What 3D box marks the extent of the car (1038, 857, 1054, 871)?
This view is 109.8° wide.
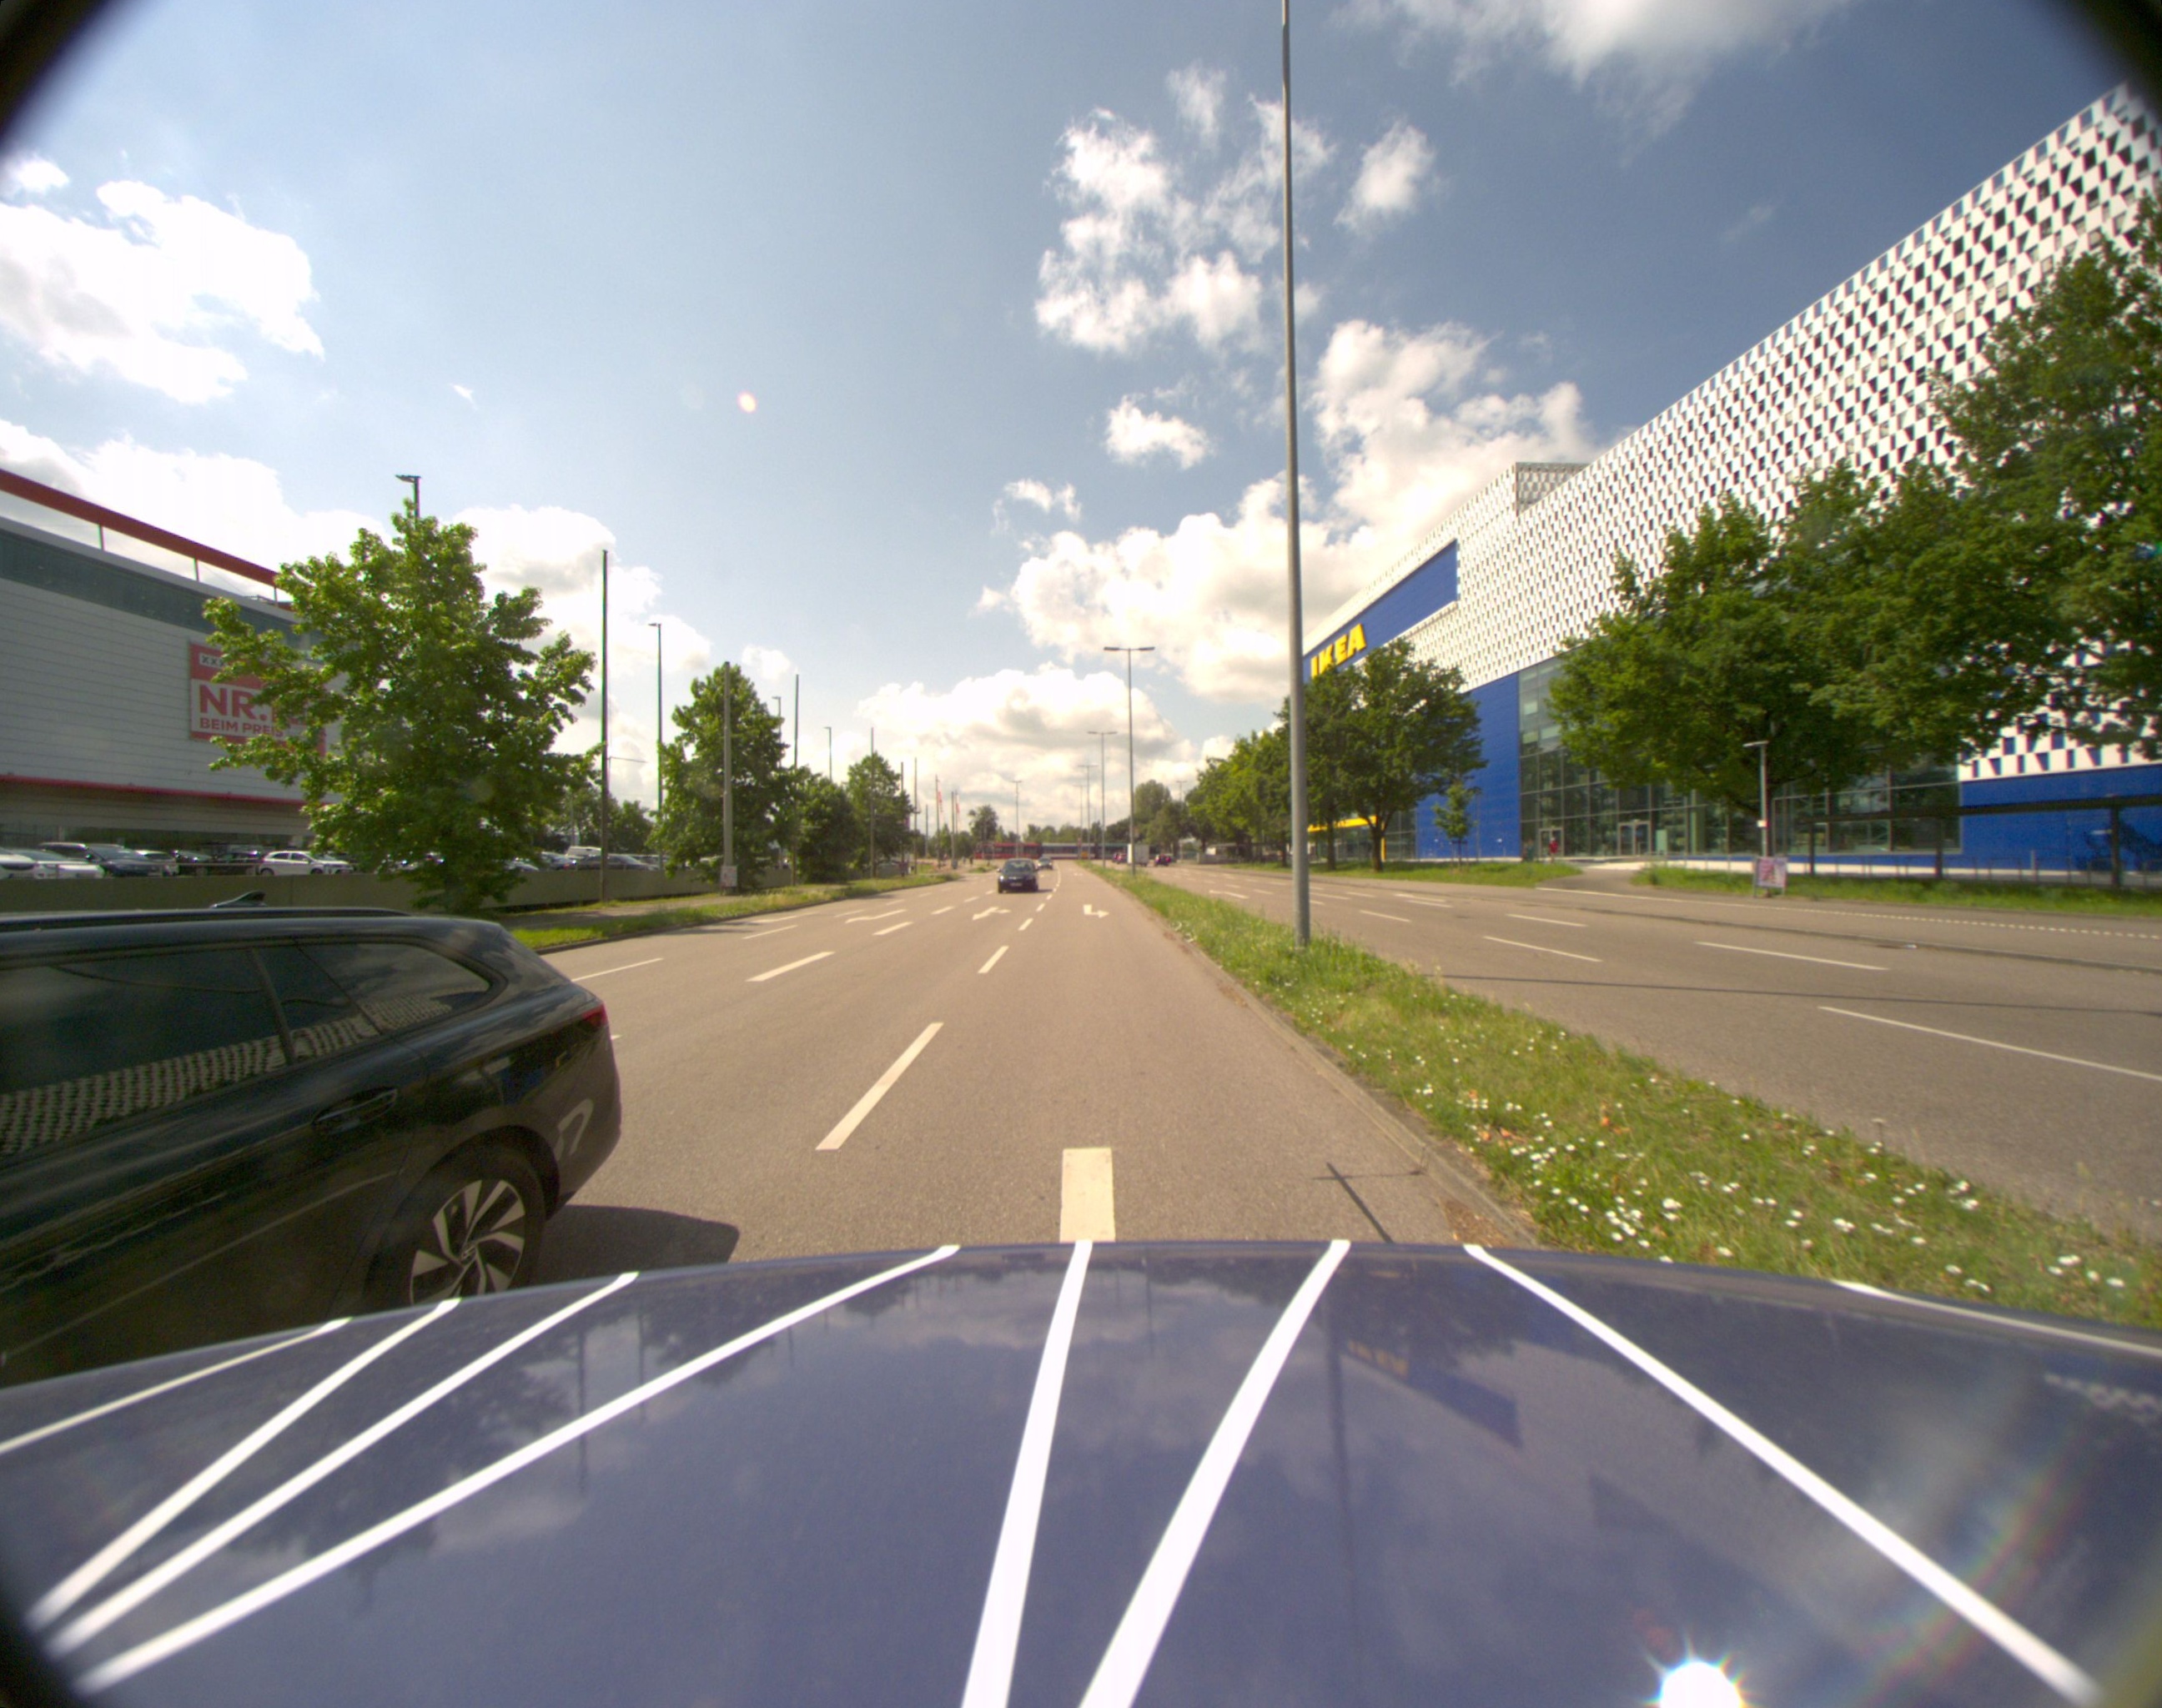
[{"bbox_3d":[-3.902,1.126,85.346,1.606,1.521,4.269,-1,0,0],"label":"car"}]

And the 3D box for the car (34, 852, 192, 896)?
[{"bbox_3d":[-39.237,0.795,30.856,4.417,1.596,1.956,-2,1,8],"label":"car"}]

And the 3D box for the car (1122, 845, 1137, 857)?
[{"bbox_3d":[7.176,-0.420,112.663,1.941,1.674,3.999,-2,1,1],"label":"car"}]

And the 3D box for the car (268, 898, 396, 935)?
[{"bbox_3d":[-36.994,3.075,37.607,4.419,1.596,1.955,-2,1,3],"label":"car"}]

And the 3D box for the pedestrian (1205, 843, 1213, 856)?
[{"bbox_3d":[22.539,-0.787,133.783,0.817,2.082,1.041,-1,2,42],"label":"pedestrian"}]

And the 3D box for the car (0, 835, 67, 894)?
[{"bbox_3d":[-34.484,0.374,23.445,3.997,1.783,1.749,-2,1,1],"label":"car"}]

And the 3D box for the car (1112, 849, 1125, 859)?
[{"bbox_3d":[6.222,-0.016,125.443,1.941,1.674,3.999,-2,1,1],"label":"car"}]

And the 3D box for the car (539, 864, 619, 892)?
[{"bbox_3d":[-33.011,1.553,50.018,3.996,1.595,1.778,-2,1,2],"label":"car"}]

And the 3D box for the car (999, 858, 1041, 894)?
[{"bbox_3d":[-2.759,0.956,35.077,1.606,1.521,4.269,-1,0,0],"label":"car"}]

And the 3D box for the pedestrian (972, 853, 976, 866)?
[{"bbox_3d":[-15.074,0.772,107.230,0.527,1.803,0.677,-2,1,-9],"label":"pedestrian"}]

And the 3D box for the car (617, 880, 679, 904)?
[{"bbox_3d":[-37.916,3.321,66.542,4.421,1.754,1.559,-2,1,-3],"label":"car"}]

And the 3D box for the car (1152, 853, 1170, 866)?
[{"bbox_3d":[10.533,0.705,100.328,1.941,1.674,3.999,-2,1,1],"label":"car"}]

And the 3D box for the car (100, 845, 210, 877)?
[{"bbox_3d":[-49.090,0.368,40.322,4.415,1.596,1.957,-2,1,14],"label":"car"}]

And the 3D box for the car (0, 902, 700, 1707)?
[{"bbox_3d":[-2.811,1.005,1.129,1.813,1.469,5.203,-2,0,0],"label":"car"}]

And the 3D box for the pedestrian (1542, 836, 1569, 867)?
[{"bbox_3d":[27.561,-0.140,44.166,0.854,1.718,1.165,-2,1,3],"label":"pedestrian"}]

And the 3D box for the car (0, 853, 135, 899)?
[{"bbox_3d":[-38.565,0.824,28.404,4.417,1.596,1.956,-2,1,8],"label":"car"}]

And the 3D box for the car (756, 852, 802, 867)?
[{"bbox_3d":[-34.445,0.596,86.675,4.420,1.596,1.954,-2,1,-1],"label":"car"}]

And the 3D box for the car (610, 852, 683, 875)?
[{"bbox_3d":[-33.088,0.680,57.925,4.420,1.596,1.954,-2,1,-1],"label":"car"}]

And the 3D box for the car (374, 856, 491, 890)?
[{"bbox_3d":[-34.031,0.970,39.962,4.420,1.596,1.954,-2,1,-1],"label":"car"}]

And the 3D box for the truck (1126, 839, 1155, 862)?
[{"bbox_3d":[7.579,-0.487,97.320,2.972,2.736,5.782,-2,1,-2],"label":"truck"}]

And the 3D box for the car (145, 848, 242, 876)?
[{"bbox_3d":[-55.099,0.500,47.203,4.416,1.596,1.956,-2,1,11],"label":"car"}]

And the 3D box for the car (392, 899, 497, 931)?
[{"bbox_3d":[-37.548,3.607,44.886,4.421,1.596,1.954,-2,1,-2],"label":"car"}]

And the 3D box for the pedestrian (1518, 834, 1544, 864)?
[{"bbox_3d":[26.295,-0.301,44.411,0.854,1.718,1.165,-2,1,3],"label":"pedestrian"}]

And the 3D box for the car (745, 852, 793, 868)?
[{"bbox_3d":[-34.100,0.626,83.209,4.420,1.596,1.954,-2,1,-1],"label":"car"}]

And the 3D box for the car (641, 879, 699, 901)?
[{"bbox_3d":[-38.076,3.314,70.450,4.421,1.754,1.559,-2,1,-3],"label":"car"}]

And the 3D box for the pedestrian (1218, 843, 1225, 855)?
[{"bbox_3d":[24.566,-0.850,132.722,0.817,2.082,1.041,-1,2,42],"label":"pedestrian"}]

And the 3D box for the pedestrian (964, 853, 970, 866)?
[{"bbox_3d":[-16.048,0.829,107.105,0.705,1.803,0.544,-3,1,-17],"label":"pedestrian"}]

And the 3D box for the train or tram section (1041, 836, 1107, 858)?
[{"bbox_3d":[-1.392,-1.328,152.159,13.099,4.346,3.731,0,1,-2],"label":"train or tram section"}]

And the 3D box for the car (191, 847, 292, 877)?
[{"bbox_3d":[-49.599,0.477,44.924,4.416,1.596,1.956,-2,1,11],"label":"car"}]

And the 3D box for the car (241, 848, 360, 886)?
[{"bbox_3d":[-40.814,0.651,39.801,4.421,1.754,1.559,-2,1,-3],"label":"car"}]

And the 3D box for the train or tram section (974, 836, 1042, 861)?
[{"bbox_3d":[-14.508,-1.070,151.720,13.098,4.535,3.731,-2,1,-2],"label":"train or tram section"}]

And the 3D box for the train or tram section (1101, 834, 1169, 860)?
[{"bbox_3d":[10.709,-1.441,152.521,13.098,4.646,3.731,-2,1,-2],"label":"train or tram section"}]

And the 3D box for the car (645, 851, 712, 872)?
[{"bbox_3d":[-33.204,0.616,62.742,4.420,1.596,1.954,-2,1,-1],"label":"car"}]

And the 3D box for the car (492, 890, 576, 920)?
[{"bbox_3d":[-37.502,3.509,52.173,4.421,1.754,1.559,-2,1,-3],"label":"car"}]

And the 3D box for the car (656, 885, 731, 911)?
[{"bbox_3d":[-28.261,3.199,55.512,4.420,1.596,1.954,-2,1,-1],"label":"car"}]
